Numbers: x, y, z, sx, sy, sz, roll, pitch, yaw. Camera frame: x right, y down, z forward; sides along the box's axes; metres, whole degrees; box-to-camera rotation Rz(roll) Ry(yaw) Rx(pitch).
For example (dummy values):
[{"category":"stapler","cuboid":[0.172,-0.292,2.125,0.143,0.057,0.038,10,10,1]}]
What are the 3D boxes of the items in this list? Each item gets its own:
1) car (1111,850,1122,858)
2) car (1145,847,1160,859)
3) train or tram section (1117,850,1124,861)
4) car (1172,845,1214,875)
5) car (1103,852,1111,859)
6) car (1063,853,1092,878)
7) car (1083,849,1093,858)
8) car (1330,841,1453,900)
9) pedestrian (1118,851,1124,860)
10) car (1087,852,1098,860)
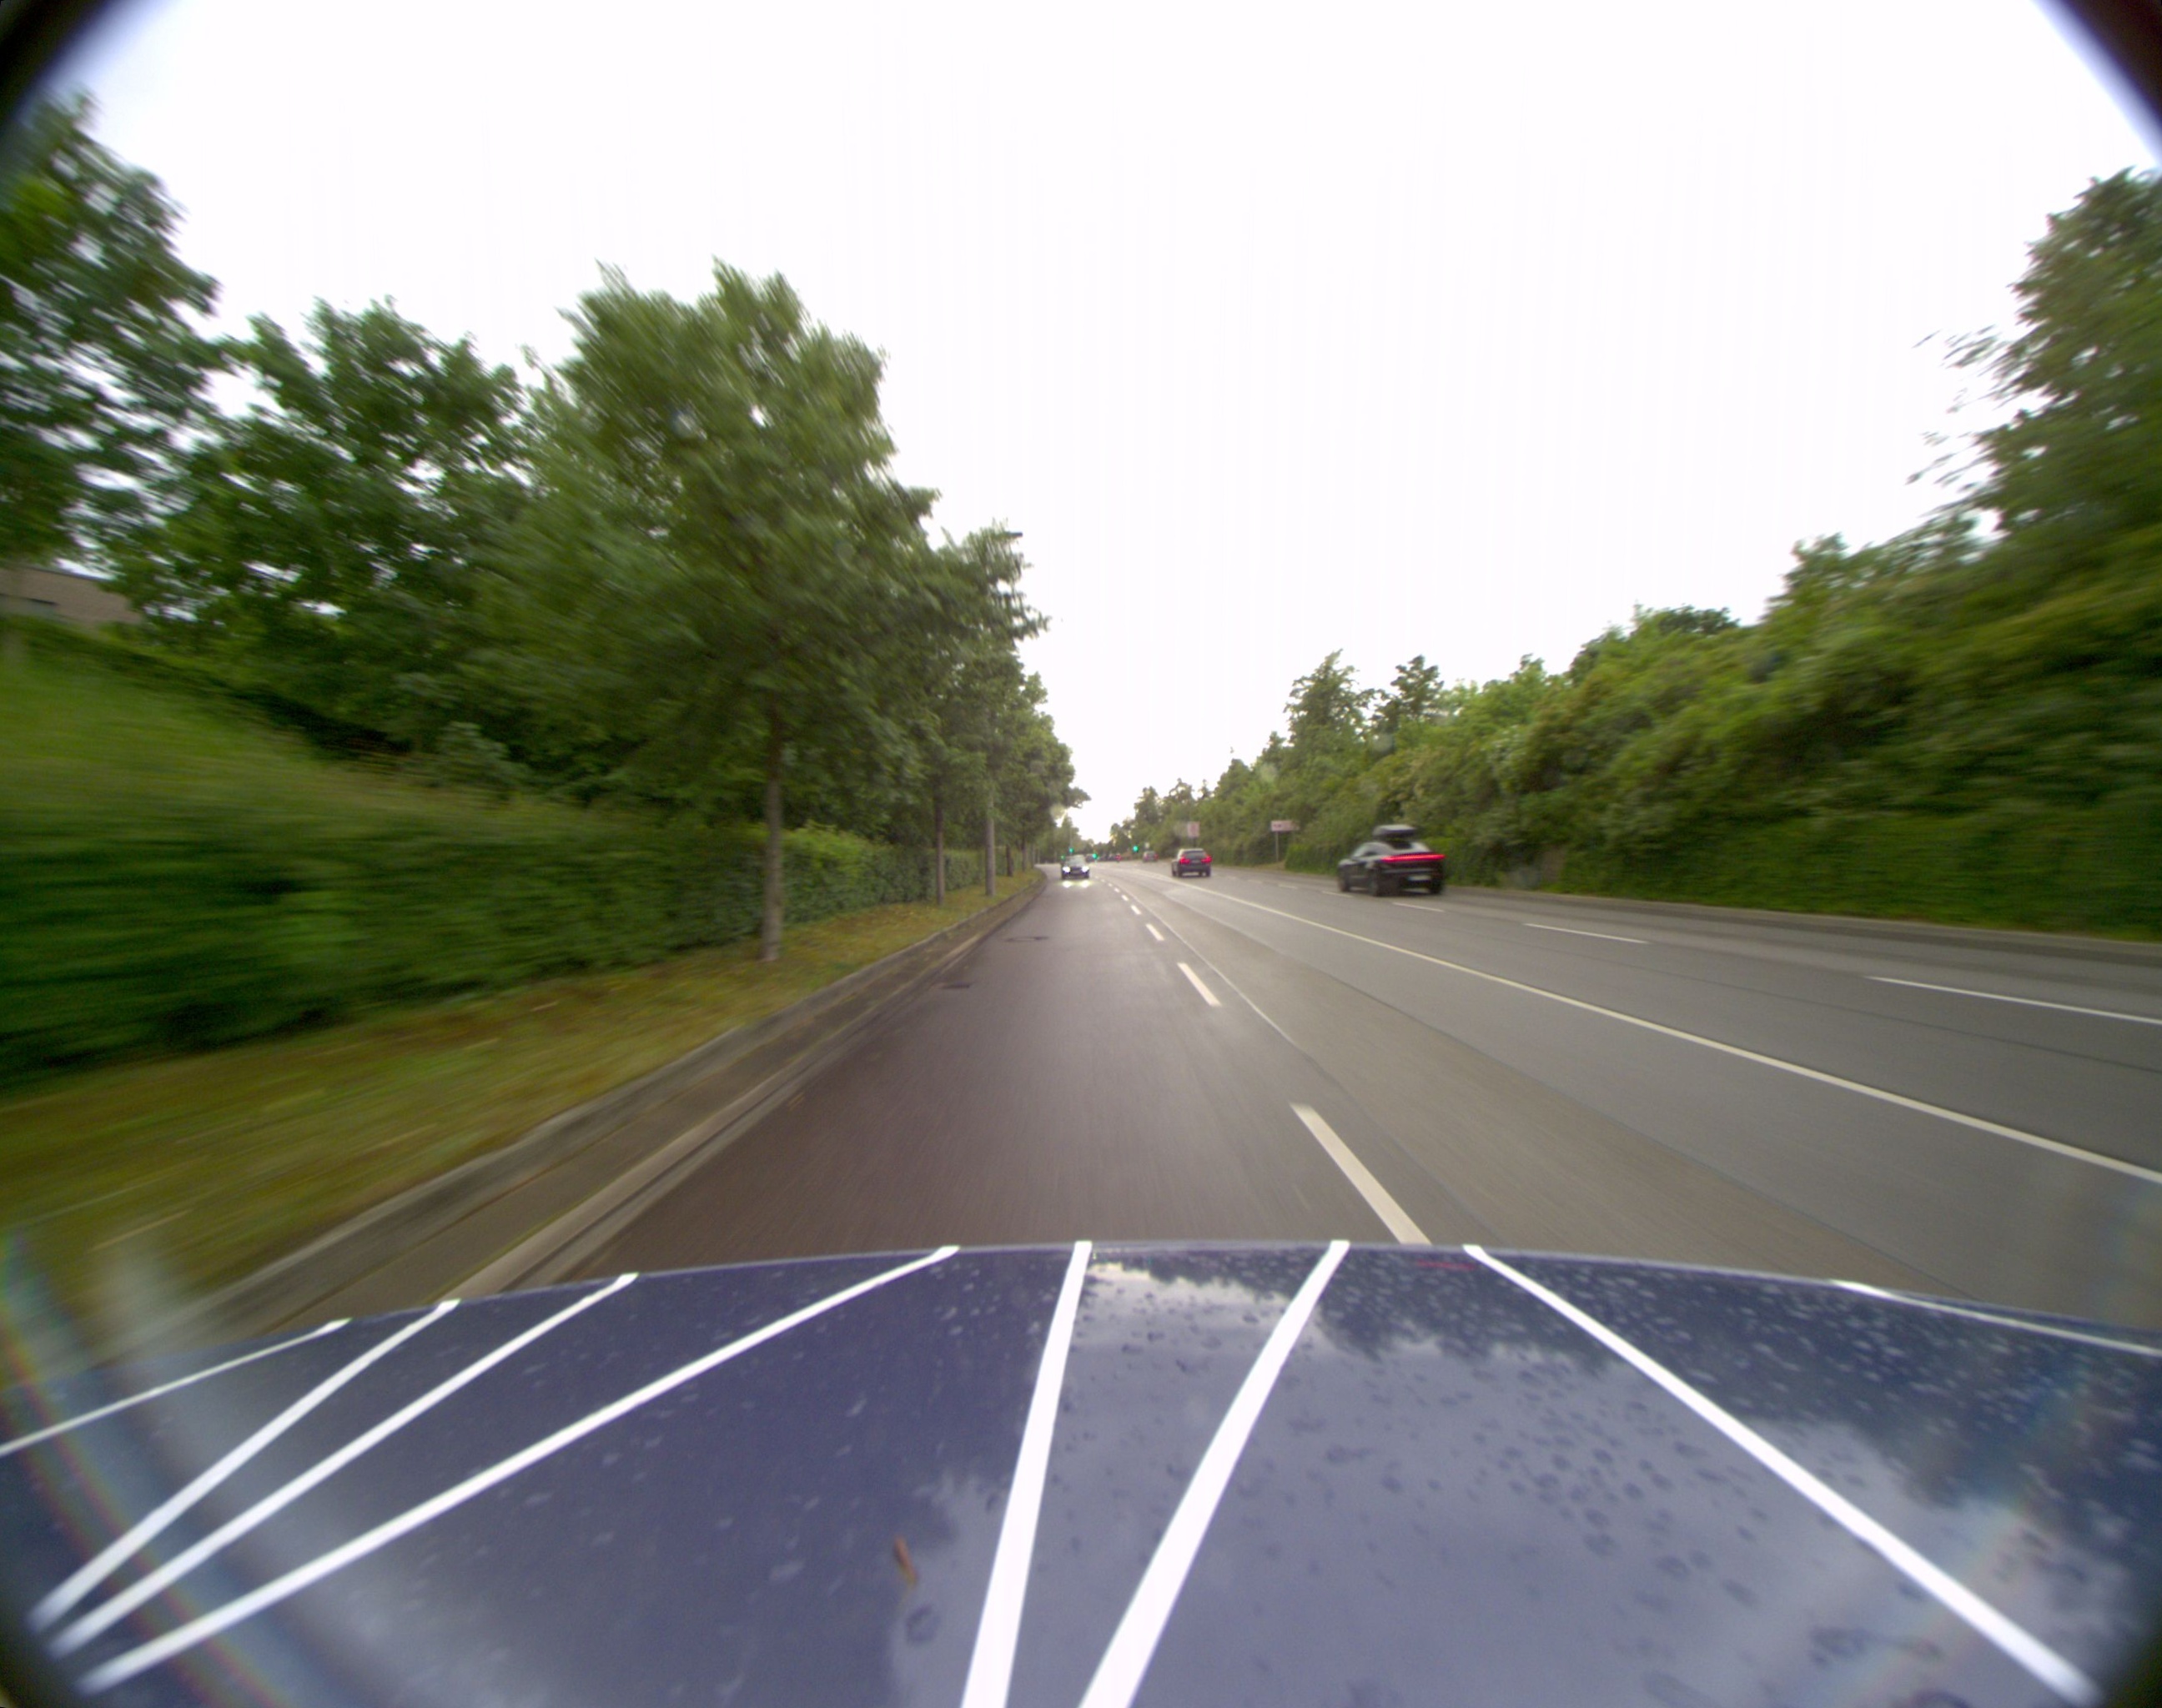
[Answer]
[{"category":"car","cuboid":[7.340,0.011,156.582,1.805,1.597,4.427,-3,0,-2]},{"category":"car","cuboid":[9.421,-0.175,99.931,1.552,1.429,3.695,-2,1,0]},{"category":"train or tram section","cuboid":[5.857,0.199,112.152,0.793,1.561,2.383,-3,1,0]},{"category":"car","cuboid":[6.744,0.335,46.134,1.817,1.648,4.595,-2,0,0]},{"category":"car","cuboid":[5.973,0.289,174.947,1.679,1.459,3.860,-3,0,-2]},{"category":"car","cuboid":[-0.287,0.736,51.013,1.738,1.577,4.285,-2,0,-2]},{"category":"car","cuboid":[1.403,-0.145,154.554,1.891,1.646,4.449,-2,0,-2]},{"category":"car","cuboid":[9.326,0.441,23.280,1.903,1.544,4.630,-3,0,1]},{"category":"pedestrian","cuboid":[5.858,0.199,112.148,0.793,1.376,0.974,-3,1,0]},{"category":"car","cuboid":[2.043,0.376,137.201,1.782,1.459,3.996,-2,0,-2]}]
